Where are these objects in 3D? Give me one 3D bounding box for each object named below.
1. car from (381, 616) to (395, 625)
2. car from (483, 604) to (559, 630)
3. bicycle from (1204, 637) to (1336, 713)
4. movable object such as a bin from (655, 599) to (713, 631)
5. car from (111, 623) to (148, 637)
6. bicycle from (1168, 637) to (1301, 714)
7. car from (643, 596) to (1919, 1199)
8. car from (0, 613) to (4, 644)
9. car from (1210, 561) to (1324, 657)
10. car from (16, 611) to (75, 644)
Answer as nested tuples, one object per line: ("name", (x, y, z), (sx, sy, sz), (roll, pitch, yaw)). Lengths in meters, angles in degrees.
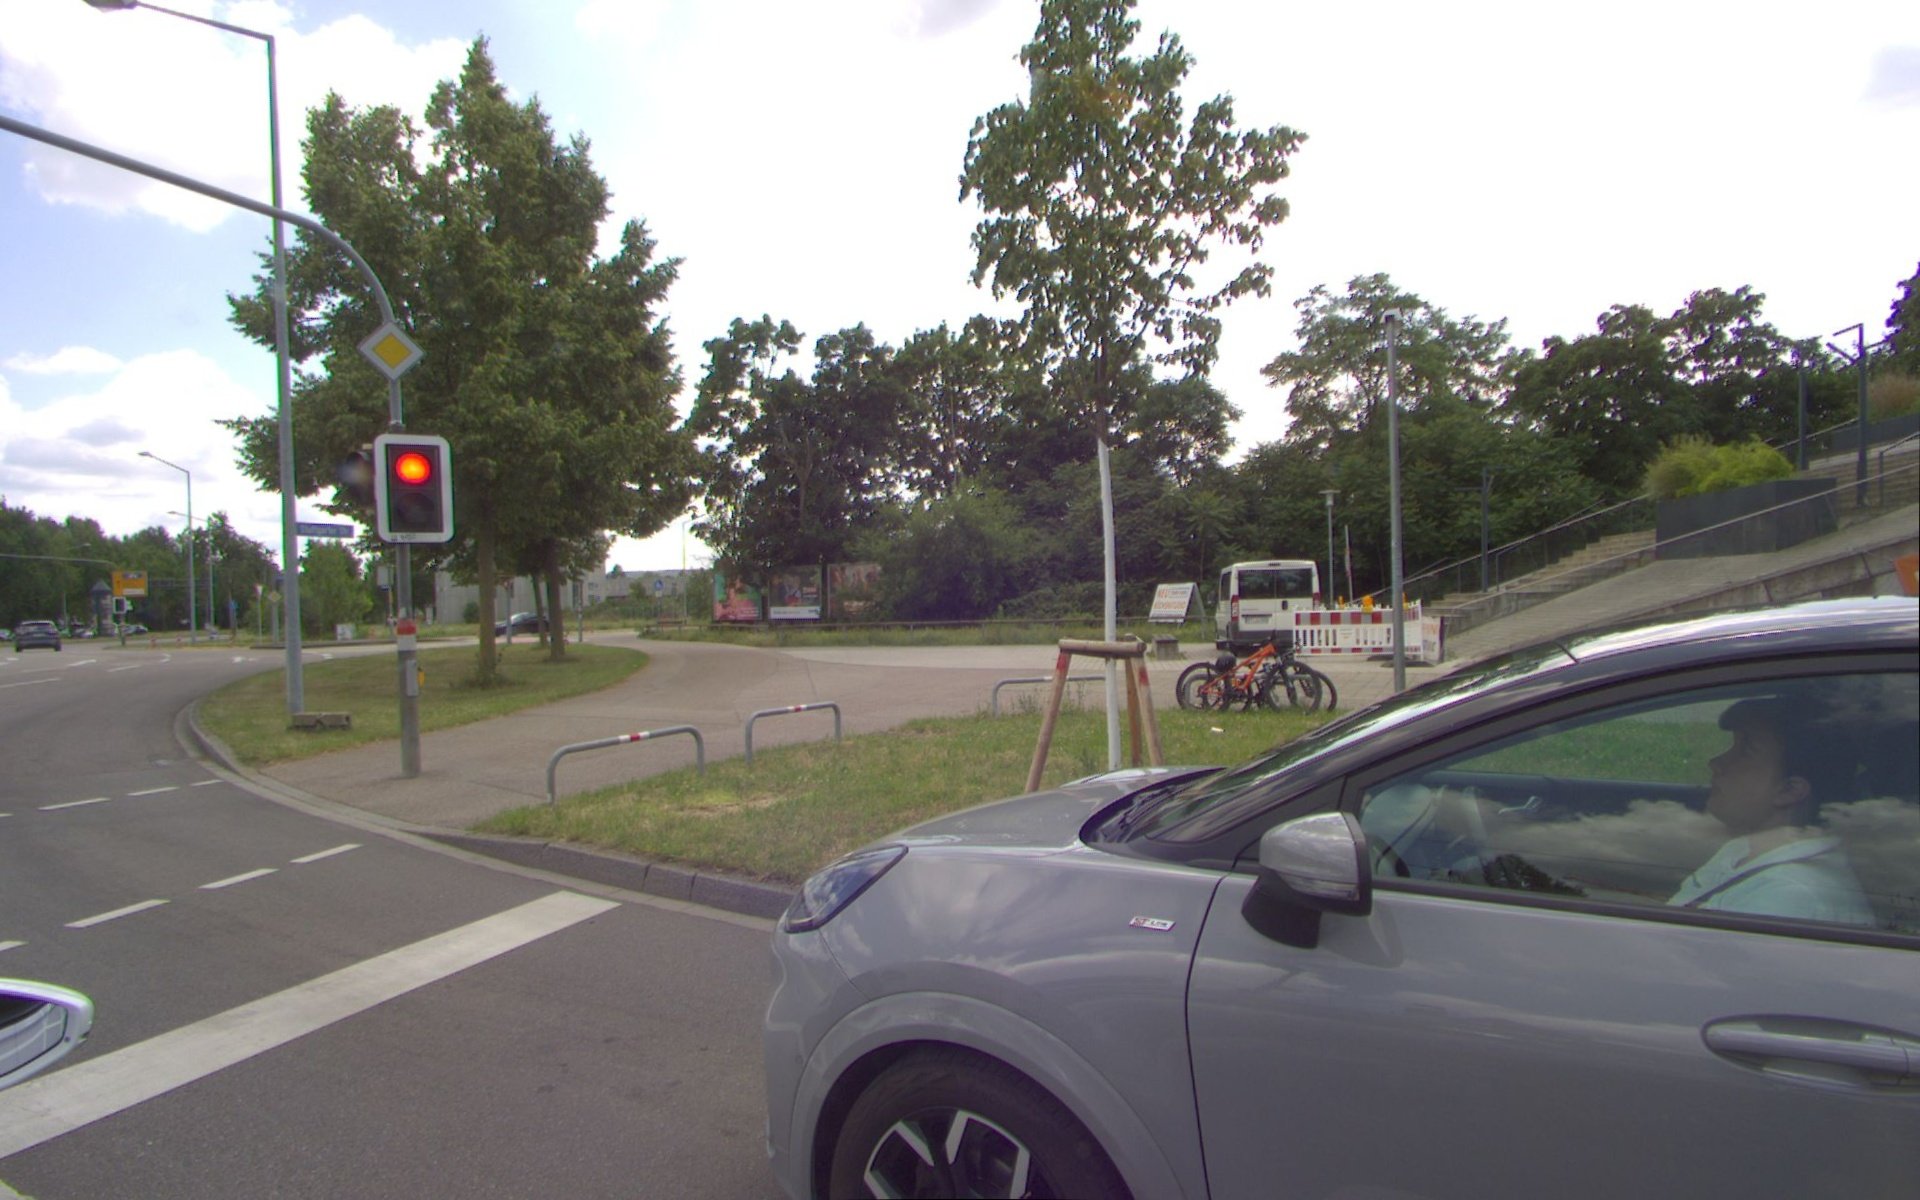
("car", (-111.873, 3.991, 195.884), (1.814, 1.506, 3.857), (-1, 0, -19))
("car", (-25.985, 0.994, 59.394), (1.664, 1.482, 3.983), (0, -1, 29))
("bicycle", (3.630, 0.864, 11.736), (1.449, 0.837, 0.357), (-1, 1, 24))
("movable object such as a bin", (-34.643, 1.949, 126.058), (2.999, 3.901, 7.598), (-1, -2, 24))
("car", (-90.828, 3.340, 109.564), (1.814, 1.505, 3.859), (0, -2, -19))
("bicycle", (3.171, 0.861, 11.613), (1.449, 0.837, 0.357), (-1, 1, 24))
("car", (1.433, 0.751, 1.949), (4.033, 1.490, 1.666), (-1, 0, 32))
("car", (-63.725, 1.878, 64.449), (1.968, 2.040, 3.984), (-1, 0, -25))
("car", (7.585, 0.228, 25.239), (2.108, 2.176, 5.149), (0, 0, 10))
("car", (-50.071, 1.484, 54.918), (1.976, 1.648, 4.276), (-2, 1, -38))
